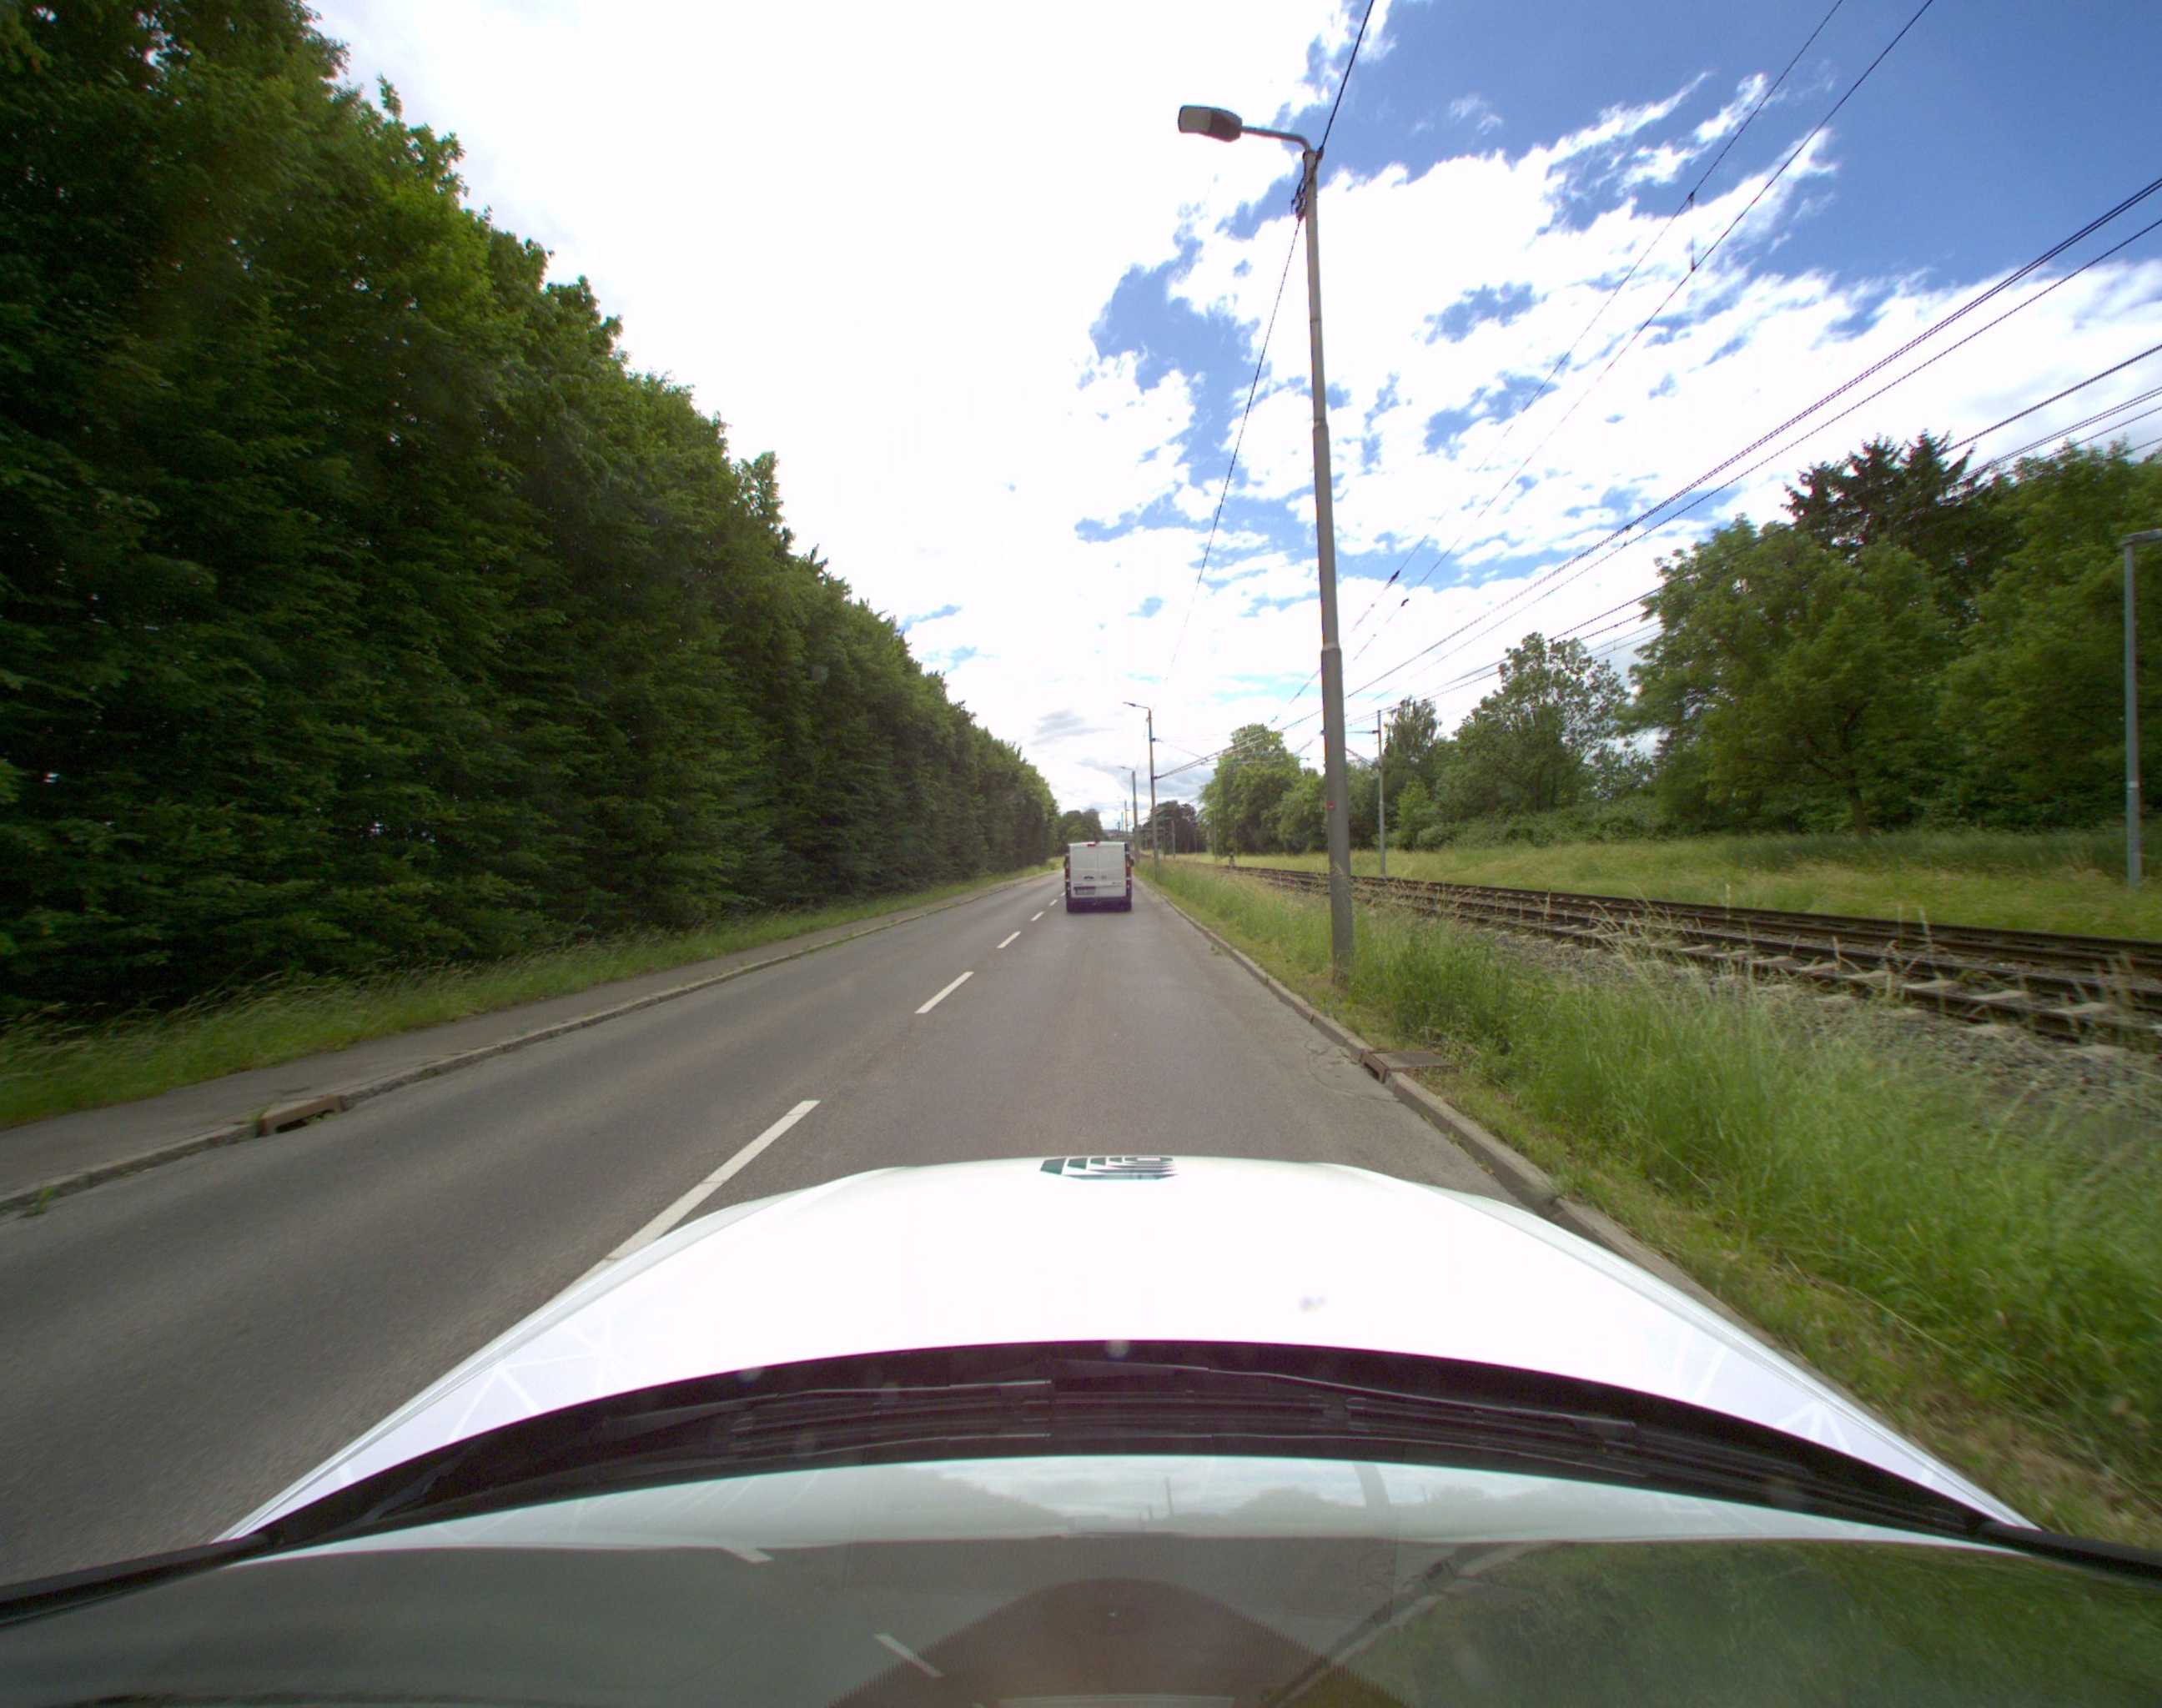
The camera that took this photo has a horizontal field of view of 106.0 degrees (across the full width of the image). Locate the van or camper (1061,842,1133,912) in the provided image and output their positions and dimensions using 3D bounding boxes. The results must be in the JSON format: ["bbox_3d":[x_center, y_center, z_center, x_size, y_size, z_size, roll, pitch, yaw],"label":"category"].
[{"bbox_3d":[0.488,0.612,24.099,1.935,1.897,4.286,0,0,1],"label":"van or camper"}]
